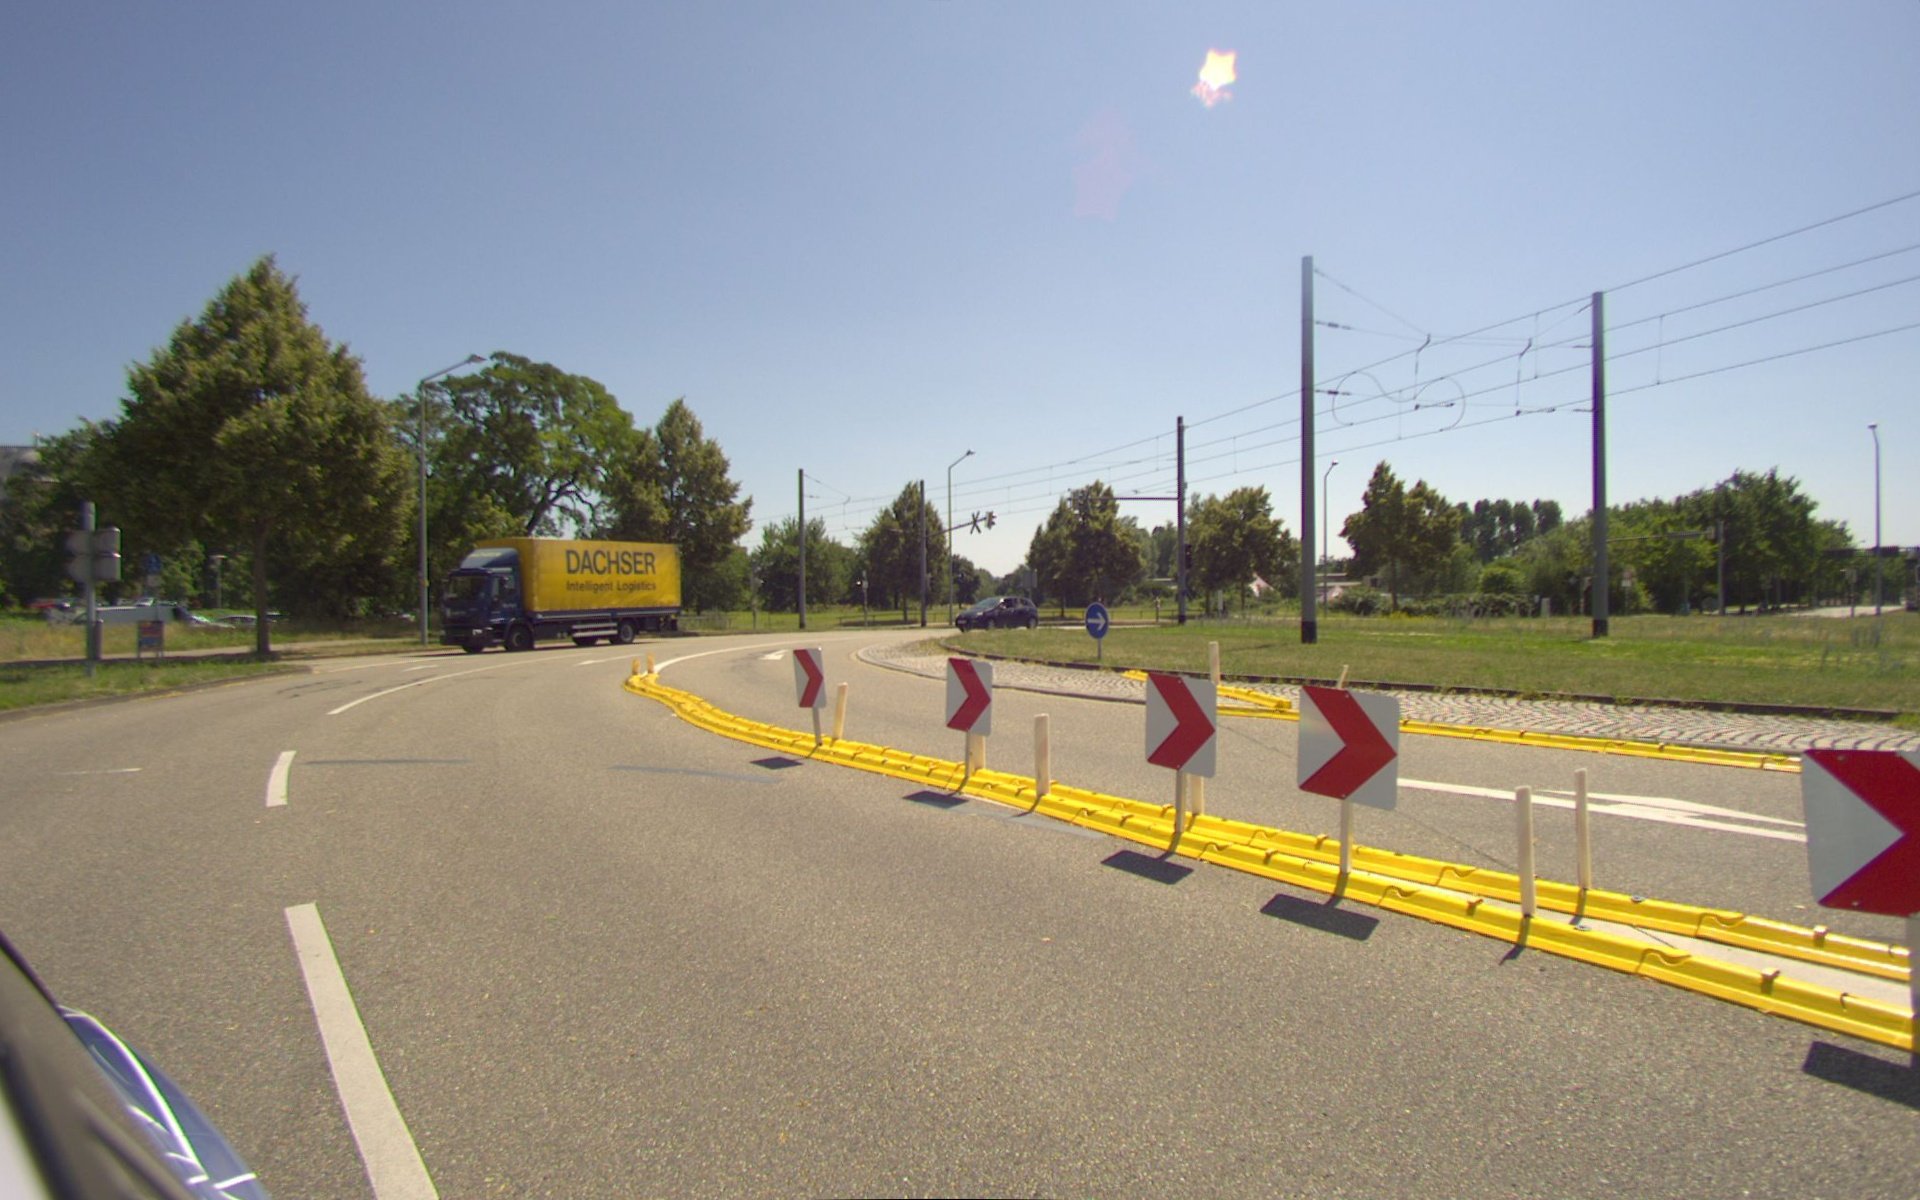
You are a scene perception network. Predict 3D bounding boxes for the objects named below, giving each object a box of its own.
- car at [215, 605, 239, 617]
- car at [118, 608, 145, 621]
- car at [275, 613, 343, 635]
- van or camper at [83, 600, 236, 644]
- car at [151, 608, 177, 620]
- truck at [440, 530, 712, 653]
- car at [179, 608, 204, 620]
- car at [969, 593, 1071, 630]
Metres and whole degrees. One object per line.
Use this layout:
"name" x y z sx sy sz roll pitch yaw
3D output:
"car" -87.991 1.357 121.510 1.454 1.427 3.037 -1 0 -18
"car" -96.827 1.698 118.322 1.454 1.427 3.037 -1 0 -18
"car" -40.900 1.497 63.614 3.331 1.291 1.358 -1 0 -5
"van or camper" -36.683 0.988 46.524 5.184 1.871 2.005 -1 0 -14
"car" -94.319 1.663 119.966 1.454 1.427 3.037 -1 0 -18
"truck" -12.857 -0.252 35.176 2.694 3.686 9.528 -1 0 27
"car" -91.496 1.646 120.552 1.454 1.427 3.037 -1 0 -18
"car" 2.507 0.450 42.005 3.937 1.429 1.983 -1 0 -40
